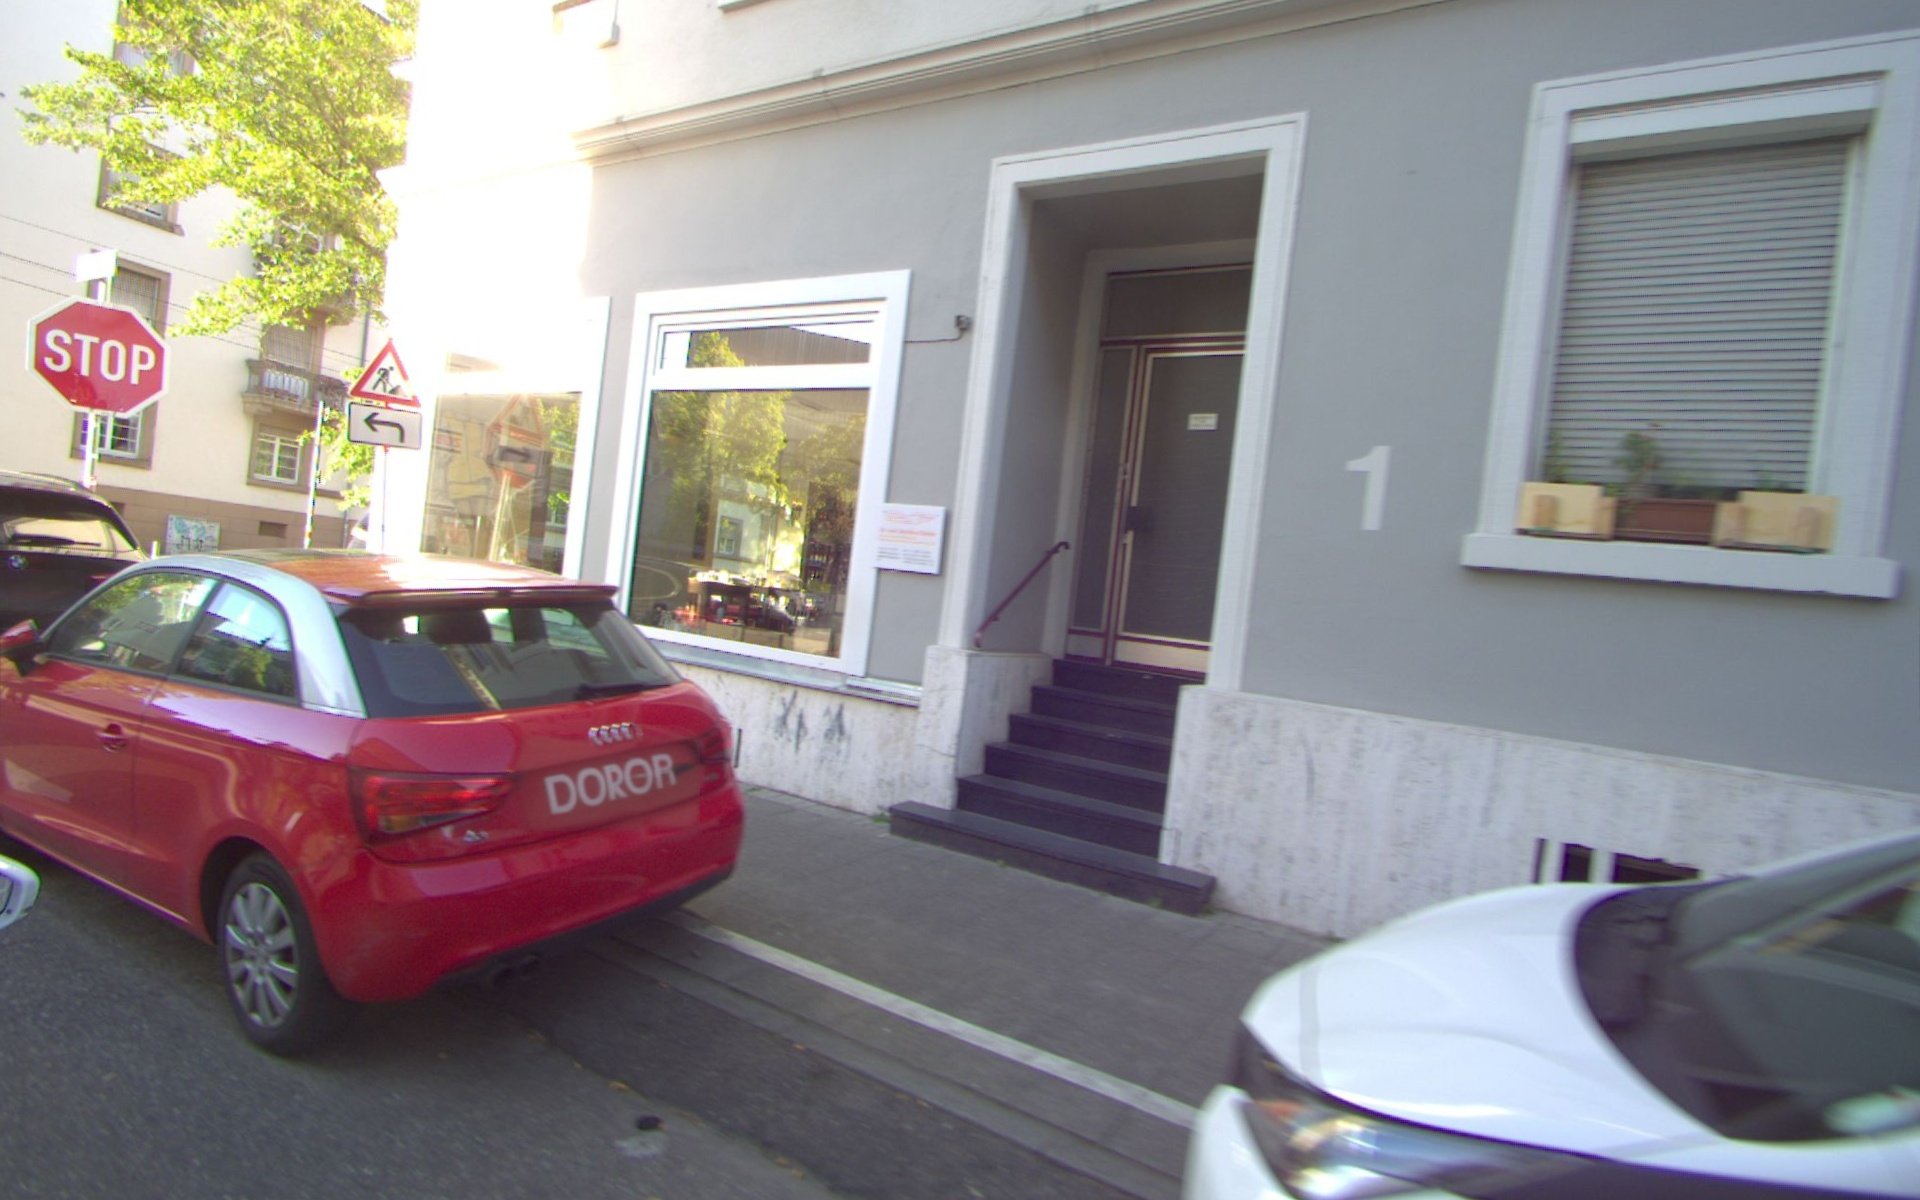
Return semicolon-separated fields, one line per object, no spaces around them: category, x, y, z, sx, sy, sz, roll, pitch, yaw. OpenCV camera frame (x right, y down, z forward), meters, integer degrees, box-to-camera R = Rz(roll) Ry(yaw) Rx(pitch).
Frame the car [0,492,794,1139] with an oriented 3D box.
car;-2.820;0.485;4.249;3.888;1.520;1.649;7;-1;30

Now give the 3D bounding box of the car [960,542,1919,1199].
car;2.024;0.977;1.350;3.724;1.605;1.640;7;-1;30

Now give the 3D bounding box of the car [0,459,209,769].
car;-6.962;-0.126;6.511;4.126;1.681;1.764;7;-1;30

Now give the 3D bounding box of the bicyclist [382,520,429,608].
bicyclist;-11.334;-0.739;20.575;0.647;1.708;0.539;7;0;-33
